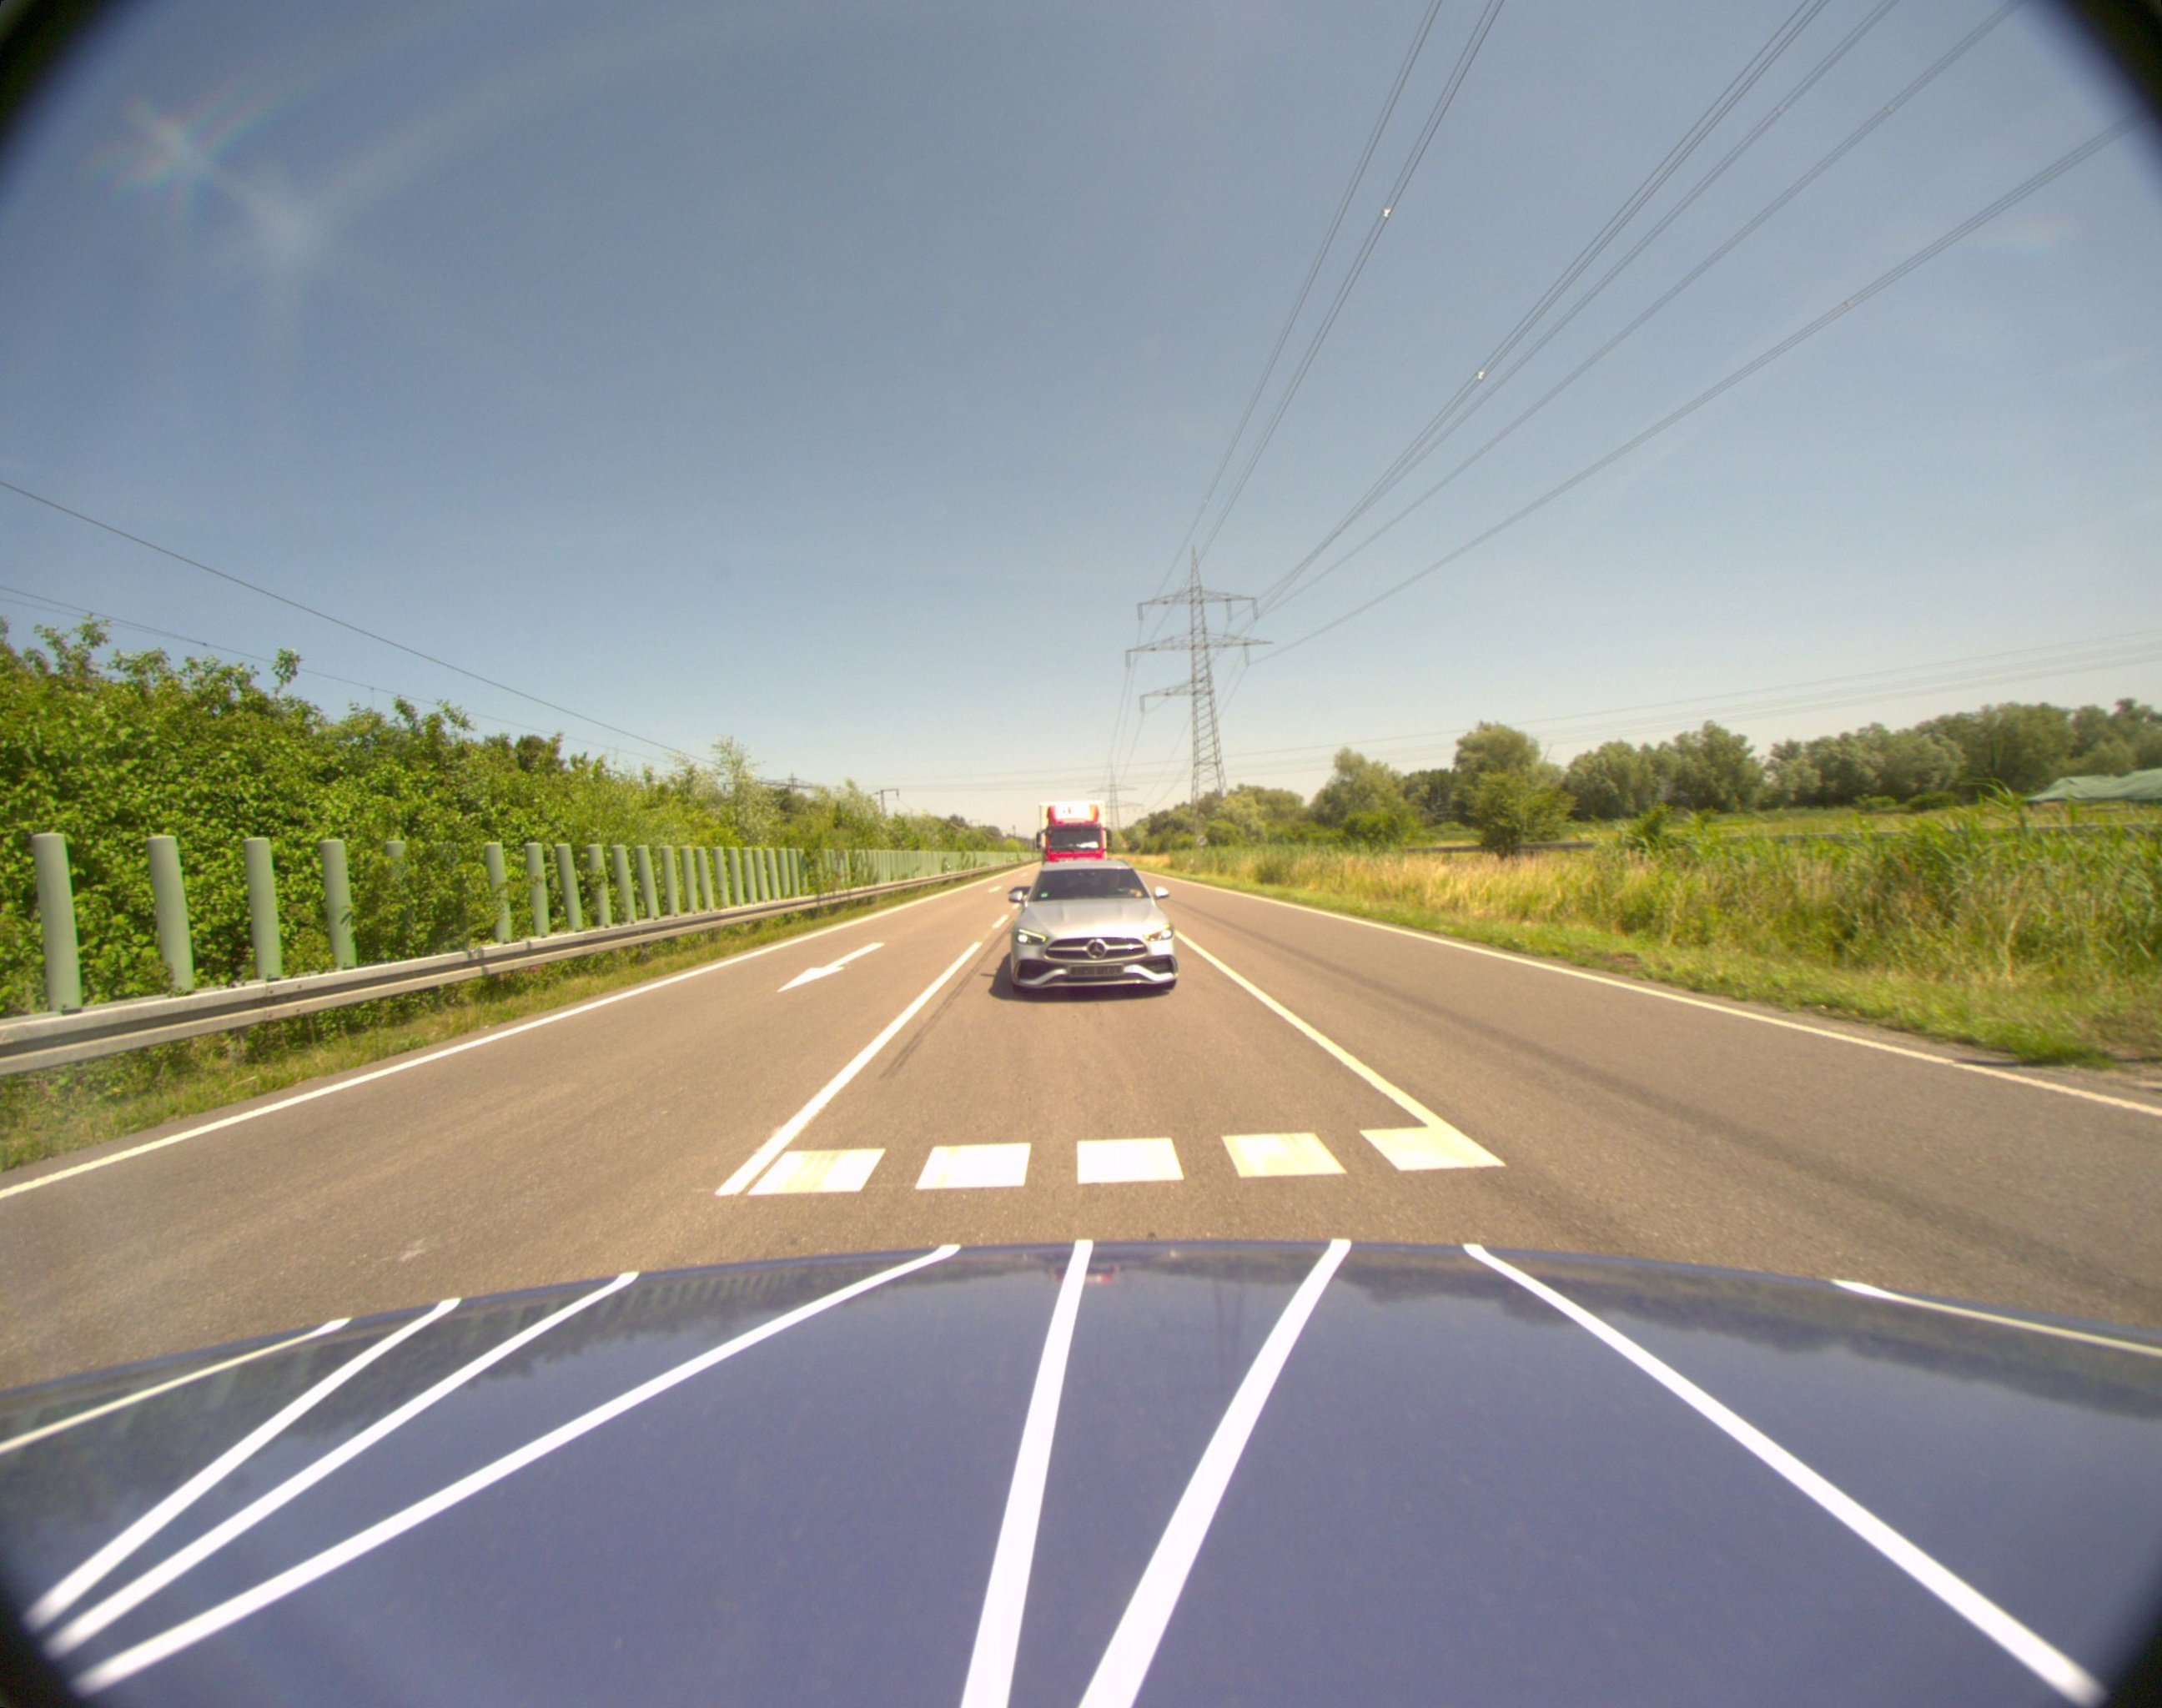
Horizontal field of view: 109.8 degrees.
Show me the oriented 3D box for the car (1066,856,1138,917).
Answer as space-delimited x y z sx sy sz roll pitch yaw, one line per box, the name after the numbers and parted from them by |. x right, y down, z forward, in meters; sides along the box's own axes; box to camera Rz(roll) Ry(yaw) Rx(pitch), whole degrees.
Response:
0.522 0.799 20.667 1.698 1.385 4.467 -2 1 0 | car

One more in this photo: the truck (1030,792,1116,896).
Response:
-0.343 -0.407 31.485 2.907 3.641 7.154 -4 1 -1 | truck

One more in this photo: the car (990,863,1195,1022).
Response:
0.093 0.904 9.781 1.999 1.437 4.466 -2 1 -1 | car
